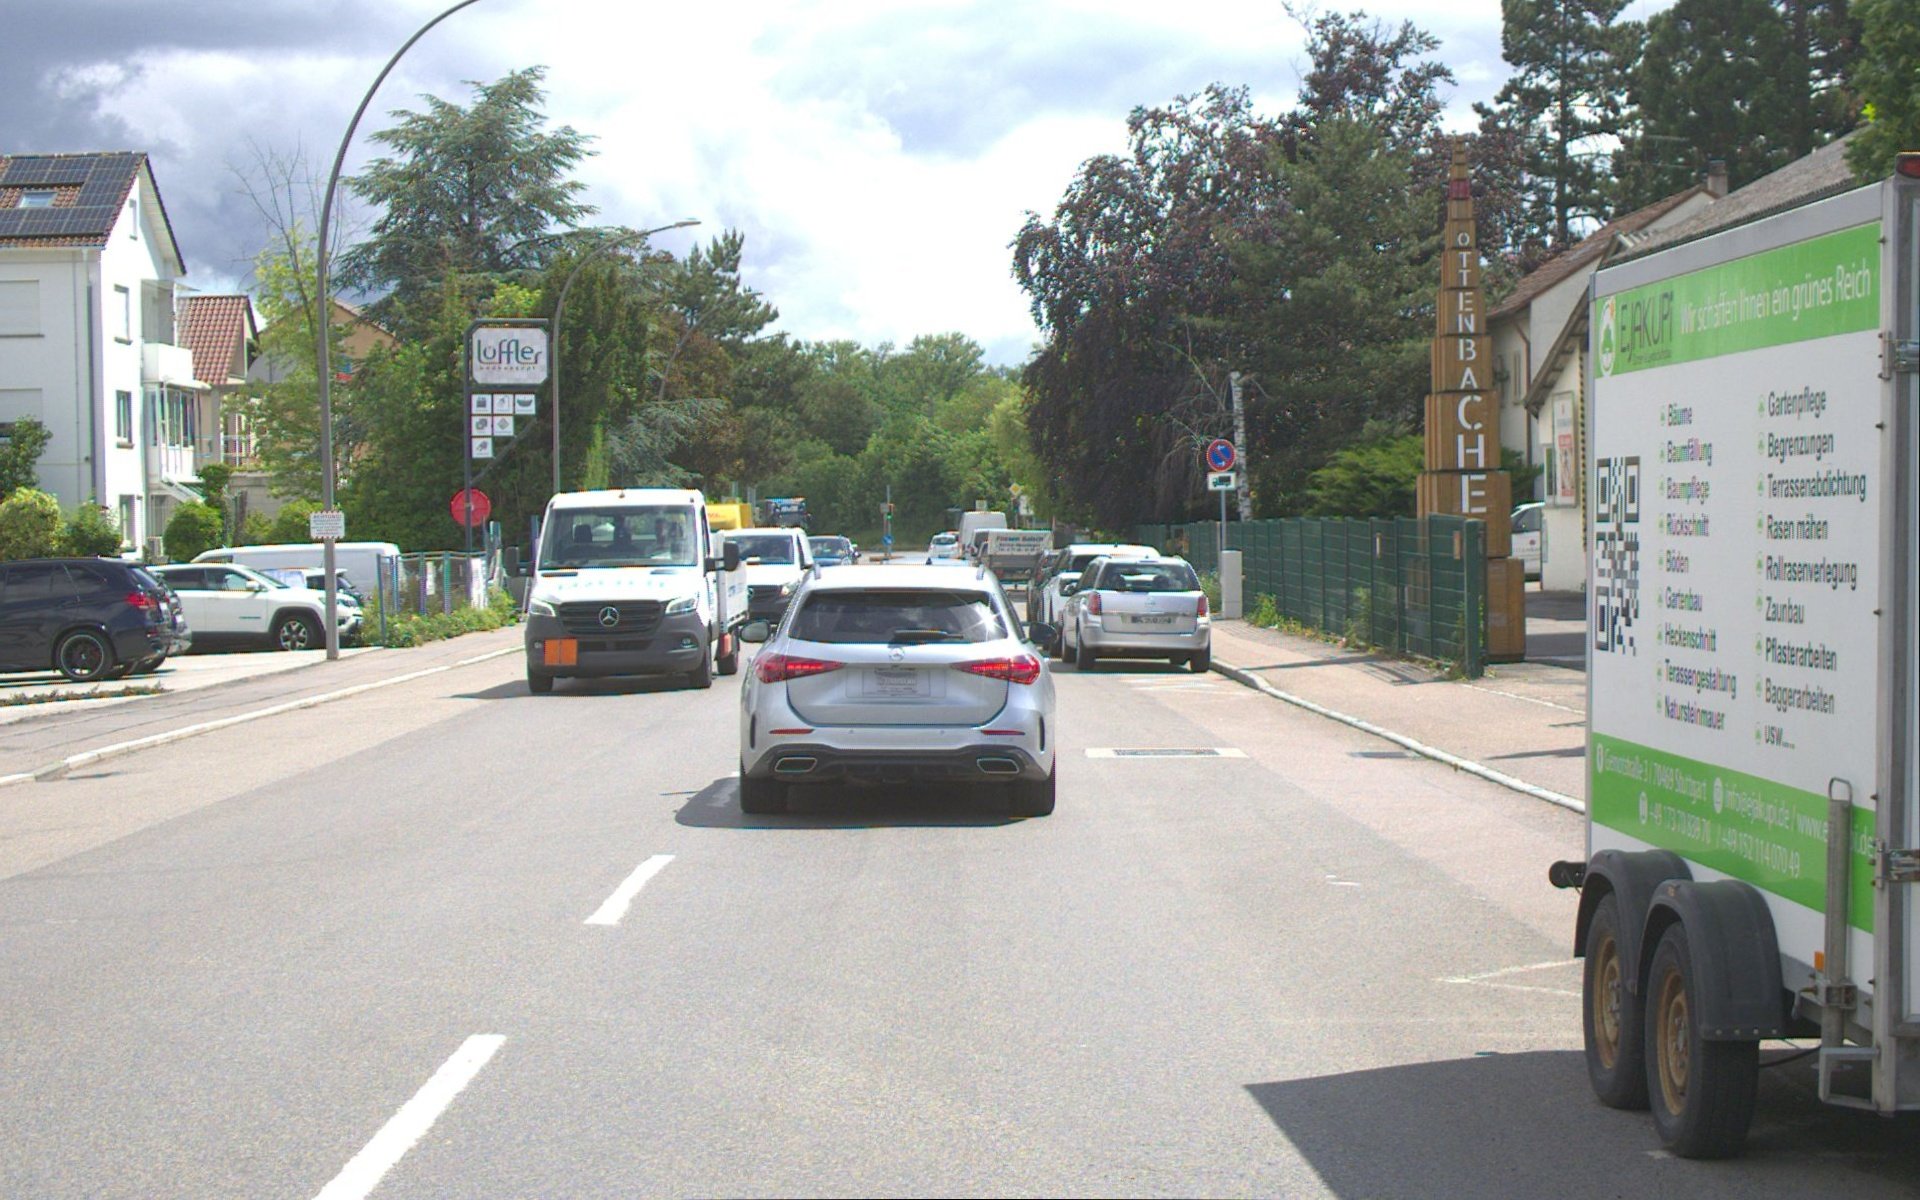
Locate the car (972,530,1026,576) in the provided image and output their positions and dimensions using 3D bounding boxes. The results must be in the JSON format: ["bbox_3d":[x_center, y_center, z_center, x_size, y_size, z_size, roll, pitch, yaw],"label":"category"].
[{"bbox_3d":[1.434,-1.756,129.183,1.784,1.709,4.317,0,1,-2],"label":"car"}]

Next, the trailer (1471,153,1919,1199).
[{"bbox_3d":[2.799,0.152,9.451,1.941,2.286,4.446,-1,1,-2],"label":"trailer"}]

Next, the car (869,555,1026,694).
[{"bbox_3d":[-0.193,0.257,42.009,1.755,1.553,4.001,-1,1,-2],"label":"car"}]

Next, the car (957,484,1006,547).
[{"bbox_3d":[0.855,-3.469,141.402,1.784,2.510,4.317,0,0,-2],"label":"car"}]

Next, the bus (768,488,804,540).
[{"bbox_3d":[-11.601,-5.707,228.646,1.993,3.352,6.984,1,1,-6],"label":"bus"}]

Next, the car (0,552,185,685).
[{"bbox_3d":[-13.218,0.320,47.268,4.626,1.627,2.198,-4,2,-4],"label":"car"}]

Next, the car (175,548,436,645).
[{"bbox_3d":[-11.589,-0.044,61.062,4.279,1.561,1.991,-1,-2,-1],"label":"car"}]

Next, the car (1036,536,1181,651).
[{"bbox_3d":[2.150,-0.133,50.877,1.791,1.546,4.574,-2,1,-1],"label":"car"}]

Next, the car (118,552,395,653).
[{"bbox_3d":[-11.868,0.057,58.185,4.279,1.561,1.991,-1,-2,0],"label":"car"}]

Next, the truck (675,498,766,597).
[{"bbox_3d":[-7.080,-1.603,102.445,2.075,2.804,7.078,-2,1,1],"label":"truck"}]

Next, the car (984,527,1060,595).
[{"bbox_3d":[1.849,-1.208,104.072,2.144,1.977,5.261,-1,1,0],"label":"car"}]

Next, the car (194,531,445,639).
[{"bbox_3d":[-11.795,-0.262,63.478,4.279,1.830,1.991,-1,-2,-1],"label":"car"}]

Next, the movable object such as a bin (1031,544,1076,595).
[{"bbox_3d":[2.406,-0.795,88.771,1.084,1.266,1.380,1,1,0],"label":"movable object such as a bin"}]

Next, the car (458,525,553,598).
[{"bbox_3d":[-10.837,-0.938,82.126,1.993,1.651,4.001,-2,2,-4],"label":"car"}]

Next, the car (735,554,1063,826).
[{"bbox_3d":[-0.423,0.474,20.950,1.784,1.479,4.317,0,1,-2],"label":"car"}]

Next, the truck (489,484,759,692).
[{"bbox_3d":[-3.799,-0.200,40.162,2.319,2.171,6.449,-2,1,1],"label":"truck"}]

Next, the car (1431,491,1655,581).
[{"bbox_3d":[13.909,-1.538,82.219,5.017,1.922,2.000,-2,1,3],"label":"car"}]

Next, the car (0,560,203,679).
[{"bbox_3d":[-13.419,0.326,49.810,4.460,1.500,1.826,-4,2,-4],"label":"car"}]

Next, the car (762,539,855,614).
[{"bbox_3d":[-3.748,-0.609,85.746,1.993,1.727,4.548,-2,1,1],"label":"car"}]

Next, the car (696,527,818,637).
[{"bbox_3d":[-3.663,-0.369,62.880,1.993,1.882,5.117,-1,1,-1],"label":"car"}]

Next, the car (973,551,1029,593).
[{"bbox_3d":[1.457,-1.011,124.119,1.784,1.479,4.317,0,1,-2],"label":"car"}]

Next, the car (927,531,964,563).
[{"bbox_3d":[-0.743,-2.673,173.461,1.755,1.553,4.000,0,1,-1],"label":"car"}]

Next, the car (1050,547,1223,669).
[{"bbox_3d":[2.263,0.065,45.199,1.791,1.445,4.364,-2,1,-3],"label":"car"}]
